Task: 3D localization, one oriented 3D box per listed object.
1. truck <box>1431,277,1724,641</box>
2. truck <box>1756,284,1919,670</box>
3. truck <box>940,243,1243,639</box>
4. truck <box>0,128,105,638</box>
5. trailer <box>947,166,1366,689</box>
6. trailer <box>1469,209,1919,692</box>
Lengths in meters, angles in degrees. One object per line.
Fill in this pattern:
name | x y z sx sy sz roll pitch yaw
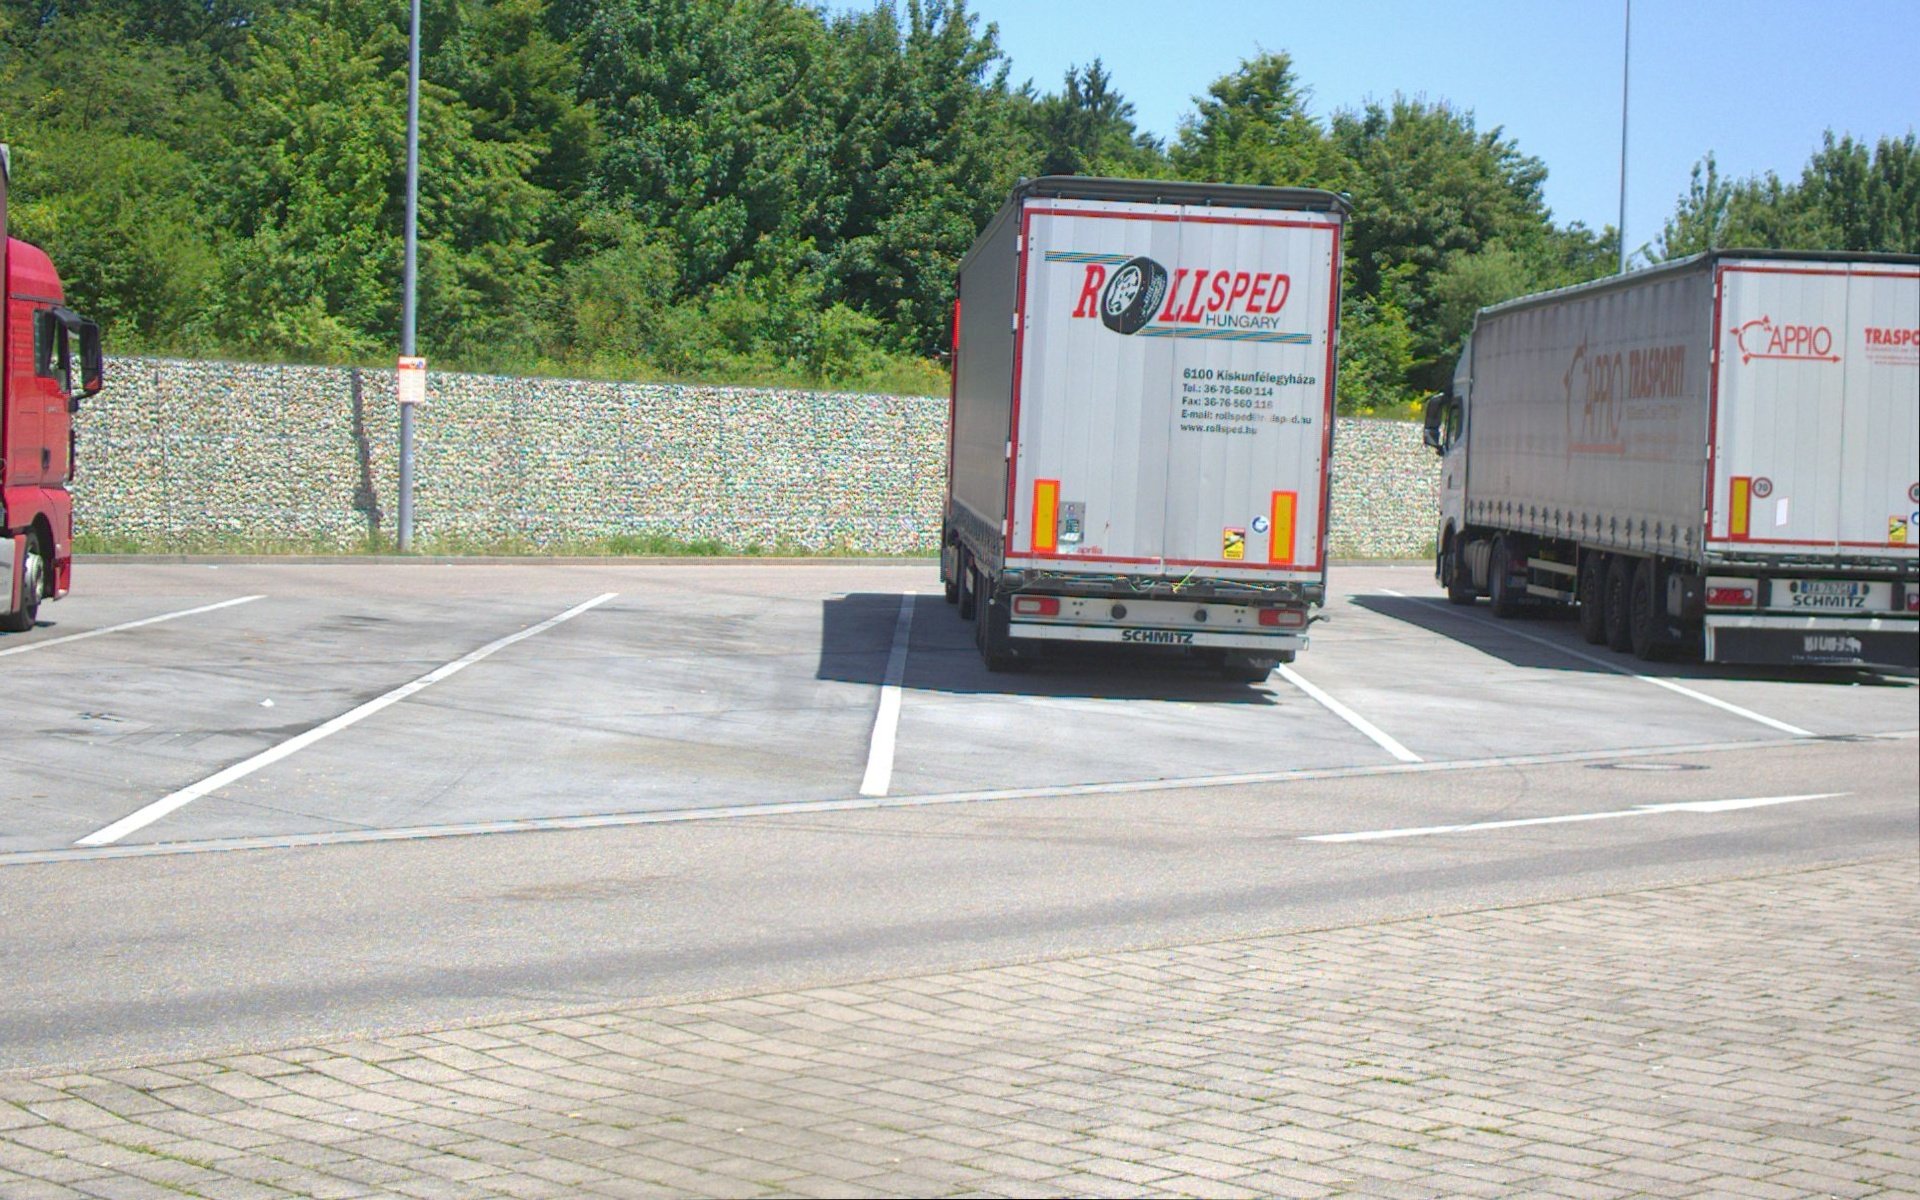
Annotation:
truck | 7.989 -1.824 45.187 2.661 4.437 5.864 1 2 -1
truck | 11.739 -1.338 38.709 2.587 4.211 11.971 1 1 -1
truck | 1.306 -1.701 37.733 2.871 3.967 6.030 1 2 -2
truck | -9.166 -1.782 28.354 2.805 4.119 5.894 1 2 -1
trailer | 1.491 -1.507 32.164 2.897 4.000 11.319 1 2 -2
trailer | 8.121 -1.580 38.227 2.681 4.437 12.831 1 2 -1
